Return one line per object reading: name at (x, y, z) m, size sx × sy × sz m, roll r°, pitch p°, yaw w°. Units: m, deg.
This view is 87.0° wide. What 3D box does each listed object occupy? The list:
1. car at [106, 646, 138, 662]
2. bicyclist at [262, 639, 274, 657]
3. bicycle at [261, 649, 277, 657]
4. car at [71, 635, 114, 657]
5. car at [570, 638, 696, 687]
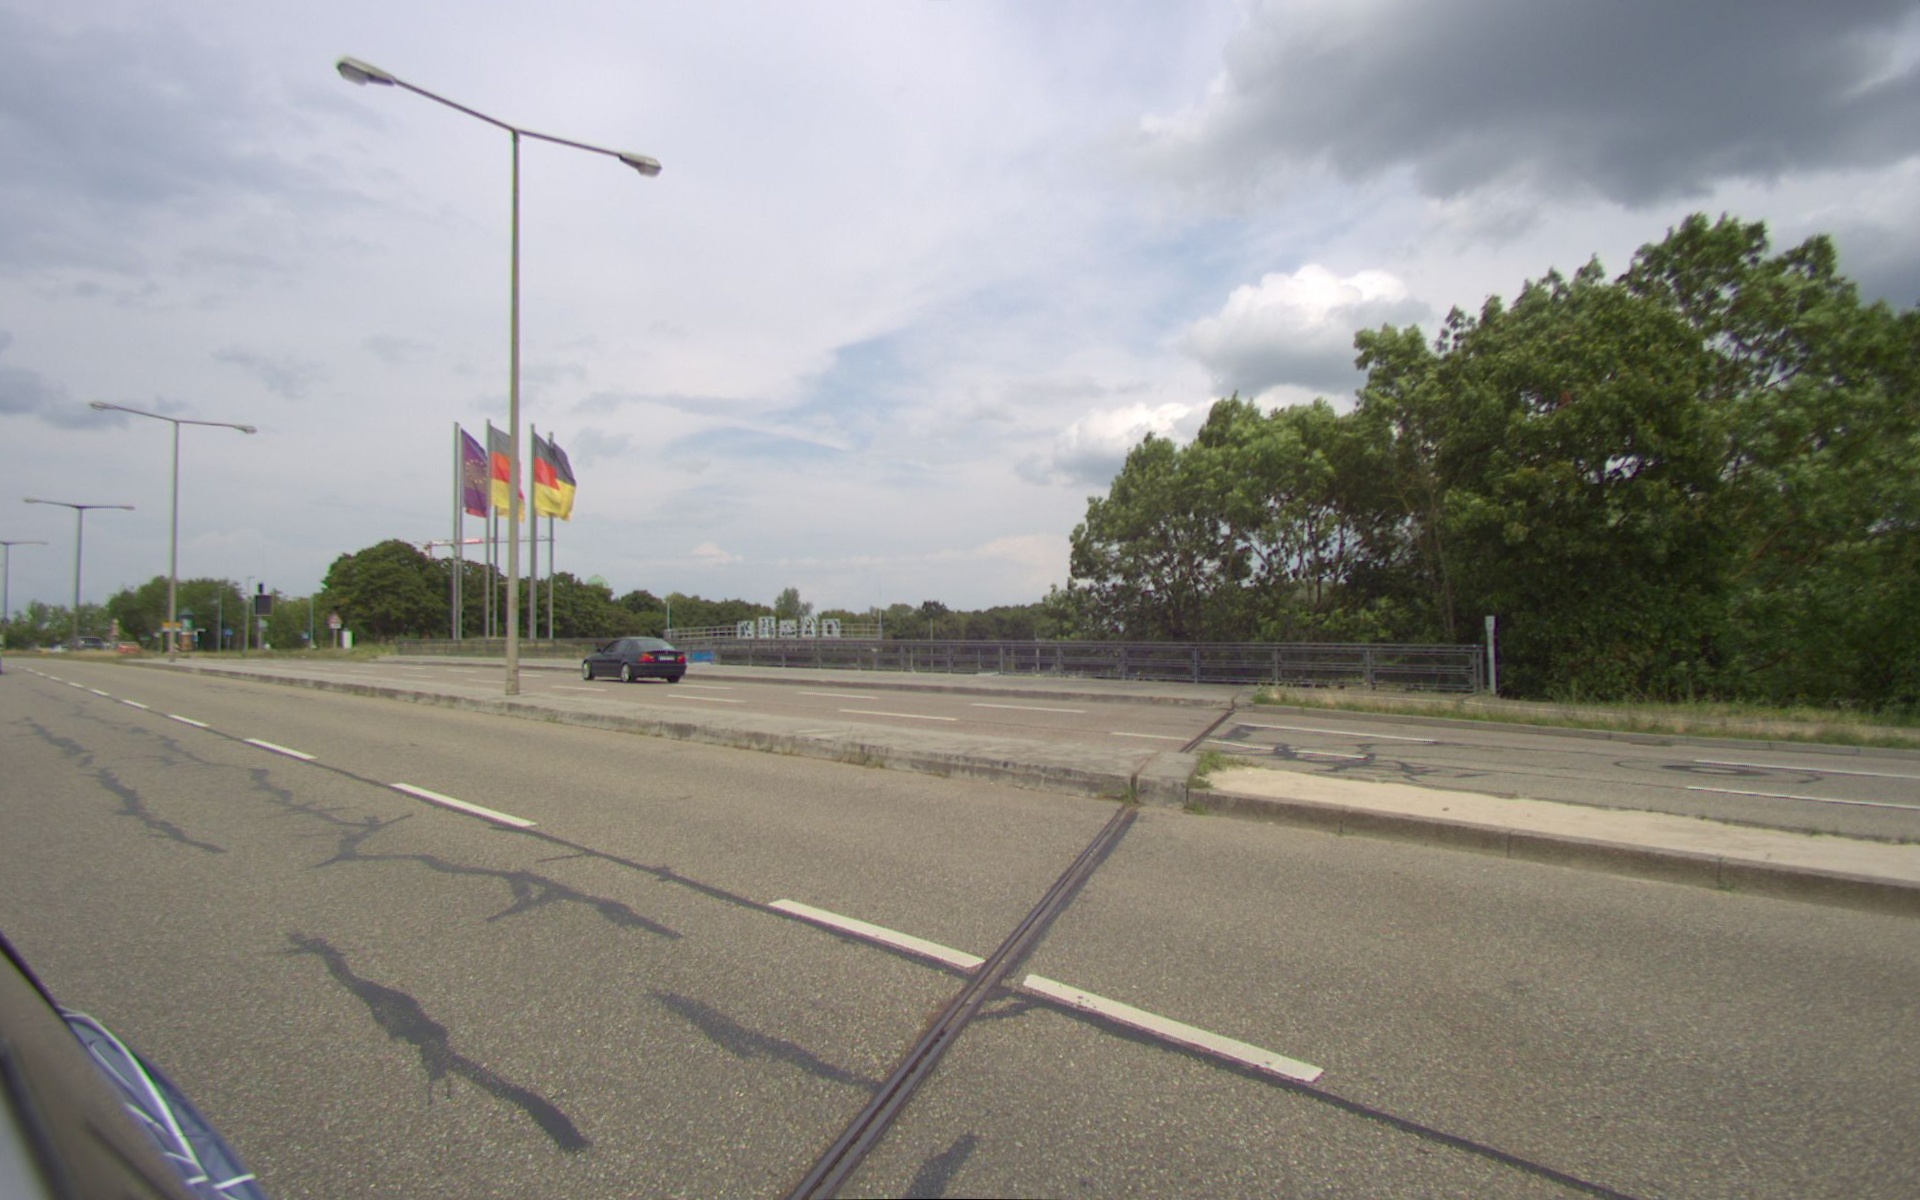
car at (-77.962, 5.022, 94.143) m, size 3.998 × 1.505 × 1.673 m, roll -3°, pitch -5°, yaw 42°
bicyclist at (-64.691, 4.494, 94.642) m, size 0.737 × 1.604 × 0.809 m, roll -3°, pitch -3°, yaw 43°
bicycle at (-64.637, 4.984, 94.648) m, size 2.222 × 0.739 × 0.809 m, roll -3°, pitch -3°, yaw 43°
car at (-68.733, 3.679, 80.151) m, size 4.661 × 1.652 × 1.972 m, roll -3°, pitch -7°, yaw 43°
car at (-10.238, 1.903, 31.525) m, size 1.970 × 1.384 × 4.581 m, roll 3°, pitch -3°, yaw -43°
